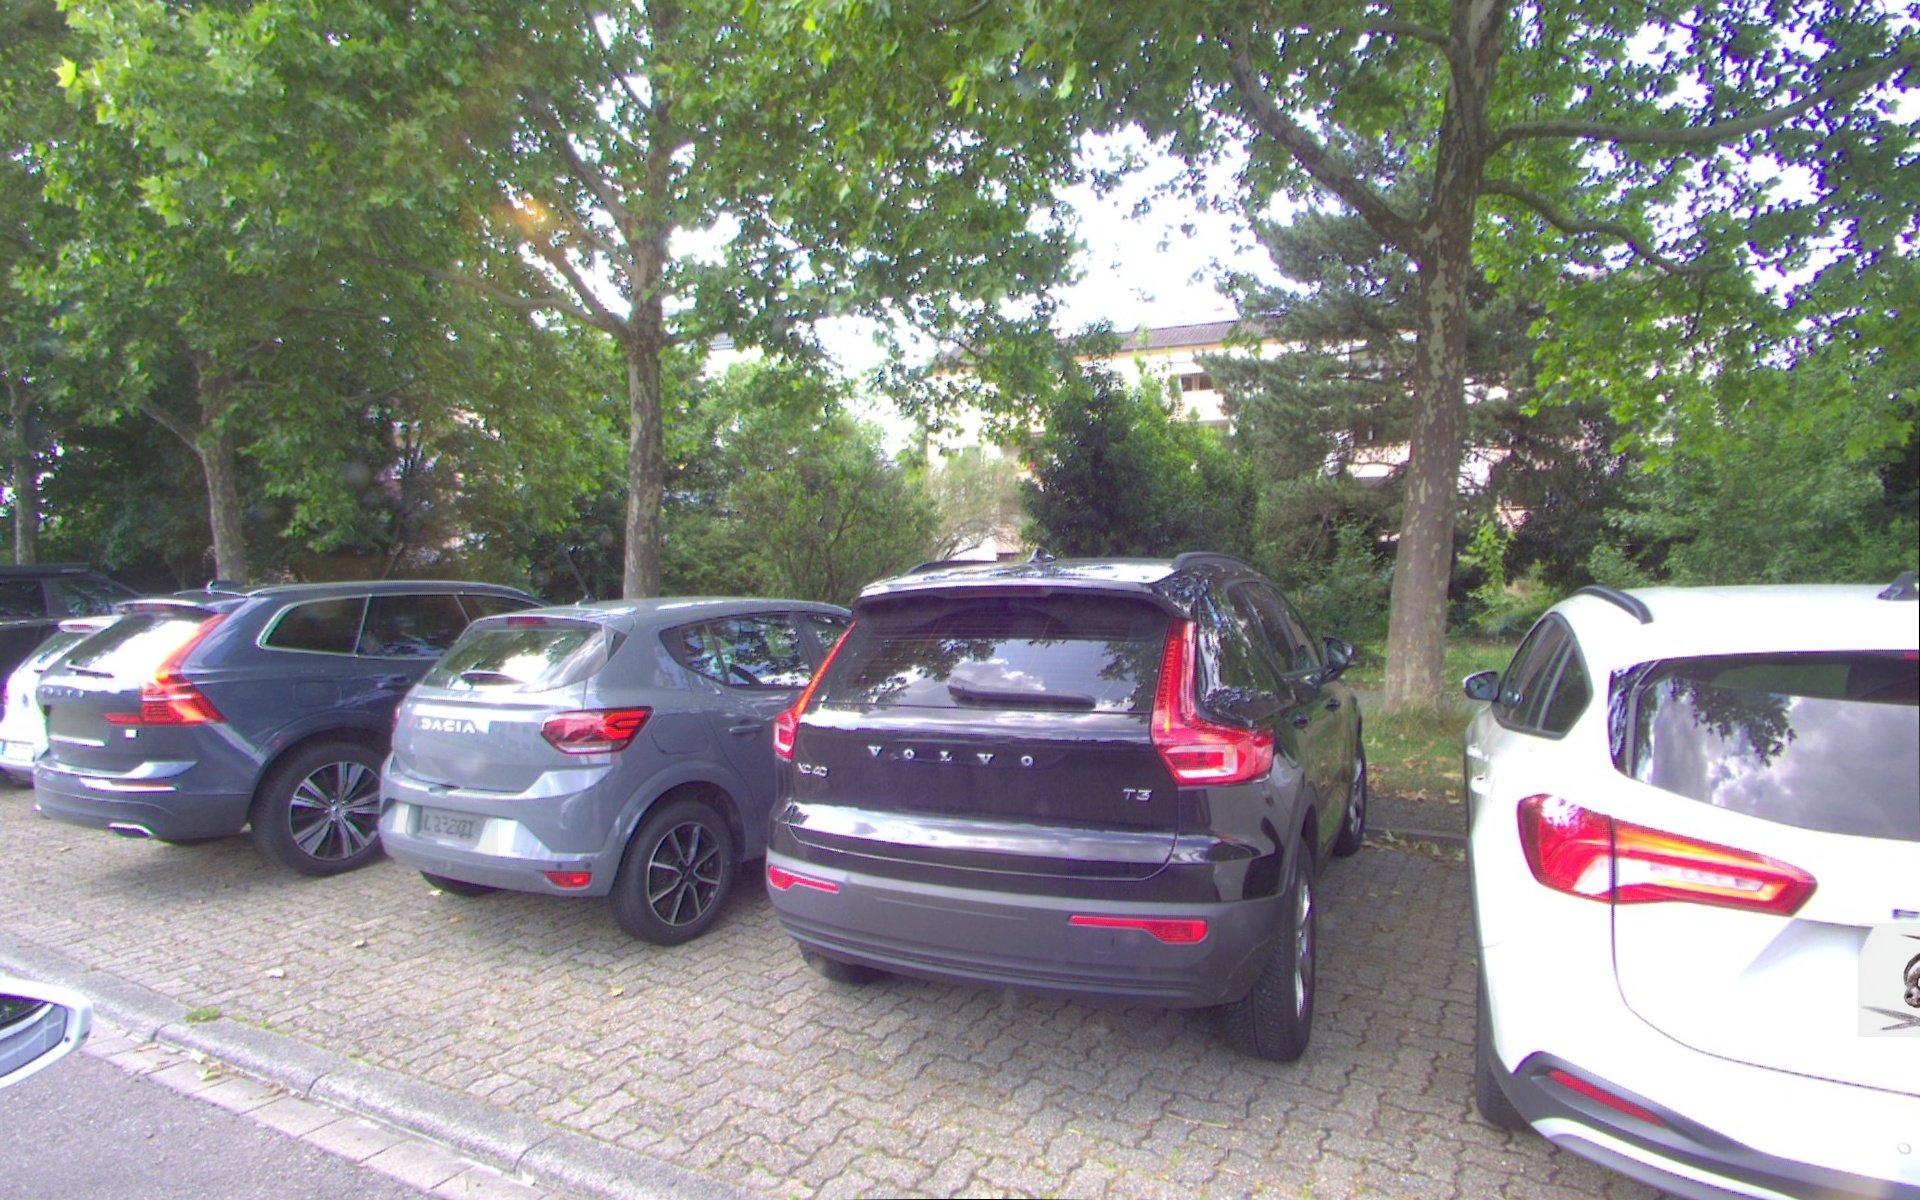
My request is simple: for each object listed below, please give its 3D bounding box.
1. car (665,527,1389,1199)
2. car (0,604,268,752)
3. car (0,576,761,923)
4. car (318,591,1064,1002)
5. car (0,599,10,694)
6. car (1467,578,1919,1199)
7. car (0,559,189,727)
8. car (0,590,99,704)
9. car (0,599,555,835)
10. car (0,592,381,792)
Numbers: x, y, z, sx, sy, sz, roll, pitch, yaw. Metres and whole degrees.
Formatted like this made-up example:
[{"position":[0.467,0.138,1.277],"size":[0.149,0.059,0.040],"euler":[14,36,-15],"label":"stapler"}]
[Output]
[{"position":[0.929,0.620,4.830],"size":[1.818,1.648,4.655],"euler":[0,1,27],"label":"car"},{"position":[-10.580,0.850,11.496],"size":[1.730,1.514,3.959],"euler":[-1,1,30],"label":"car"},{"position":[-3.585,0.686,7.092],"size":[1.731,1.661,4.371],"euler":[0,1,32],"label":"car"},{"position":[-1.113,0.726,6.089],"size":[1.731,1.521,4.371],"euler":[0,1,32],"label":"car"},{"position":[-18.777,0.858,16.216],"size":[1.826,1.683,4.543],"euler":[0,1,26],"label":"car"},{"position":[2.854,0.674,3.589],"size":[1.818,1.493,4.655],"euler":[0,1,27],"label":"car"},{"position":[-13.213,0.565,13.127],"size":[1.828,2.152,4.538],"euler":[0,1,30],"label":"car"},{"position":[-16.411,0.765,15.316],"size":[1.828,1.790,4.538],"euler":[0,1,30],"label":"car"},{"position":[-5.826,0.781,8.809],"size":[1.730,1.514,3.959],"euler":[0,1,30],"label":"car"},{"position":[-8.221,0.758,10.037],"size":[1.725,1.627,3.969],"euler":[0,1,20],"label":"car"}]
